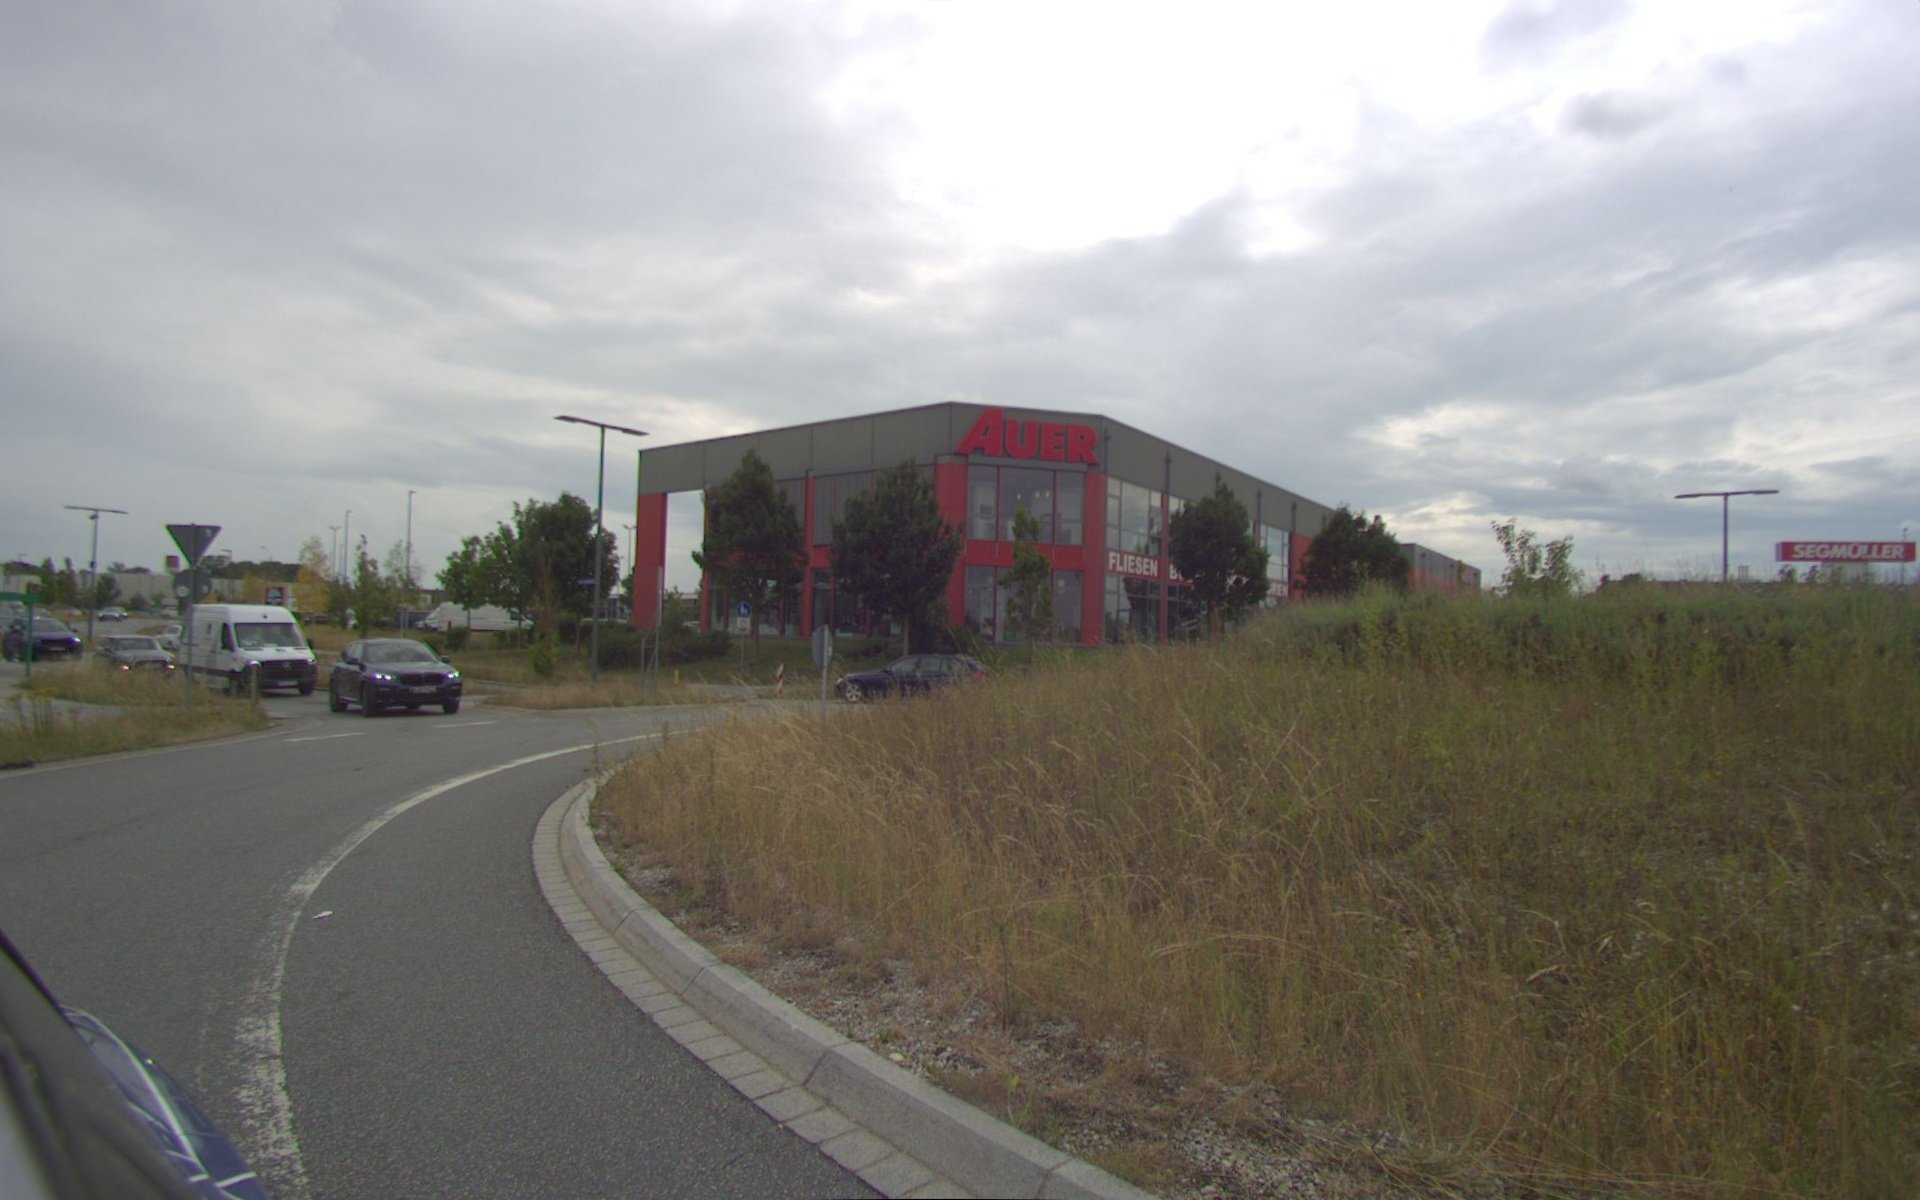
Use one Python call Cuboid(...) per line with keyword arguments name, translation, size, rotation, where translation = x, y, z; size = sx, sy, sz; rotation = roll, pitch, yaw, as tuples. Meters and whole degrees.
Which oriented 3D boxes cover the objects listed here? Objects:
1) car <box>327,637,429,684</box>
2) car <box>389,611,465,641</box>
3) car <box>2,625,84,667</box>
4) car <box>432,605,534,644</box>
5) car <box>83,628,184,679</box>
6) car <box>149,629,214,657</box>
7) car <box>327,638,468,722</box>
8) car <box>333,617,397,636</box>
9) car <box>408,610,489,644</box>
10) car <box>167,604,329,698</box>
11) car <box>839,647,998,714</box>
Cuboid(name="car", translation=(-23.022, 2.380, 39.985), size=(4.075, 1.570, 1.714), rotation=(1, -7, 34))
Cuboid(name="car", translation=(-43.319, 2.147, 82.311), size=(2.065, 2.240, 4.985), rotation=(0, -3, 43))
Cuboid(name="car", translation=(-39.255, 1.959, 43.309), size=(3.994, 1.620, 1.845), rotation=(0, -3, 38))
Cuboid(name="car", translation=(-34.416, 1.747, 73.213), size=(2.063, 2.644, 6.334), rotation=(1, -1, 40))
Cuboid(name="car", translation=(-29.273, 1.871, 35.820), size=(3.994, 1.620, 1.845), rotation=(0, -3, 38))
Cuboid(name="car", translation=(-40.961, 2.270, 53.215), size=(4.640, 1.419, 1.704), rotation=(-2, -5, 41))
Cuboid(name="car", translation=(-12.650, 1.725, 22.654), size=(1.840, 1.620, 4.005), rotation=(4, -3, -42))
Cuboid(name="car", translation=(-58.659, 2.625, 99.824), size=(4.981, 1.669, 2.066), rotation=(4, -3, -44))
Cuboid(name="car", translation=(-38.513, 2.035, 76.307), size=(2.061, 2.391, 4.995), rotation=(1, -1, 36))
Cuboid(name="car", translation=(-21.397, 1.451, 30.321), size=(6.092, 2.547, 2.003), rotation=(0, -3, 36))
Cuboid(name="car", translation=(-1.109, 2.259, 28.785), size=(4.245, 1.620, 1.996), rotation=(1, 0, 7))
